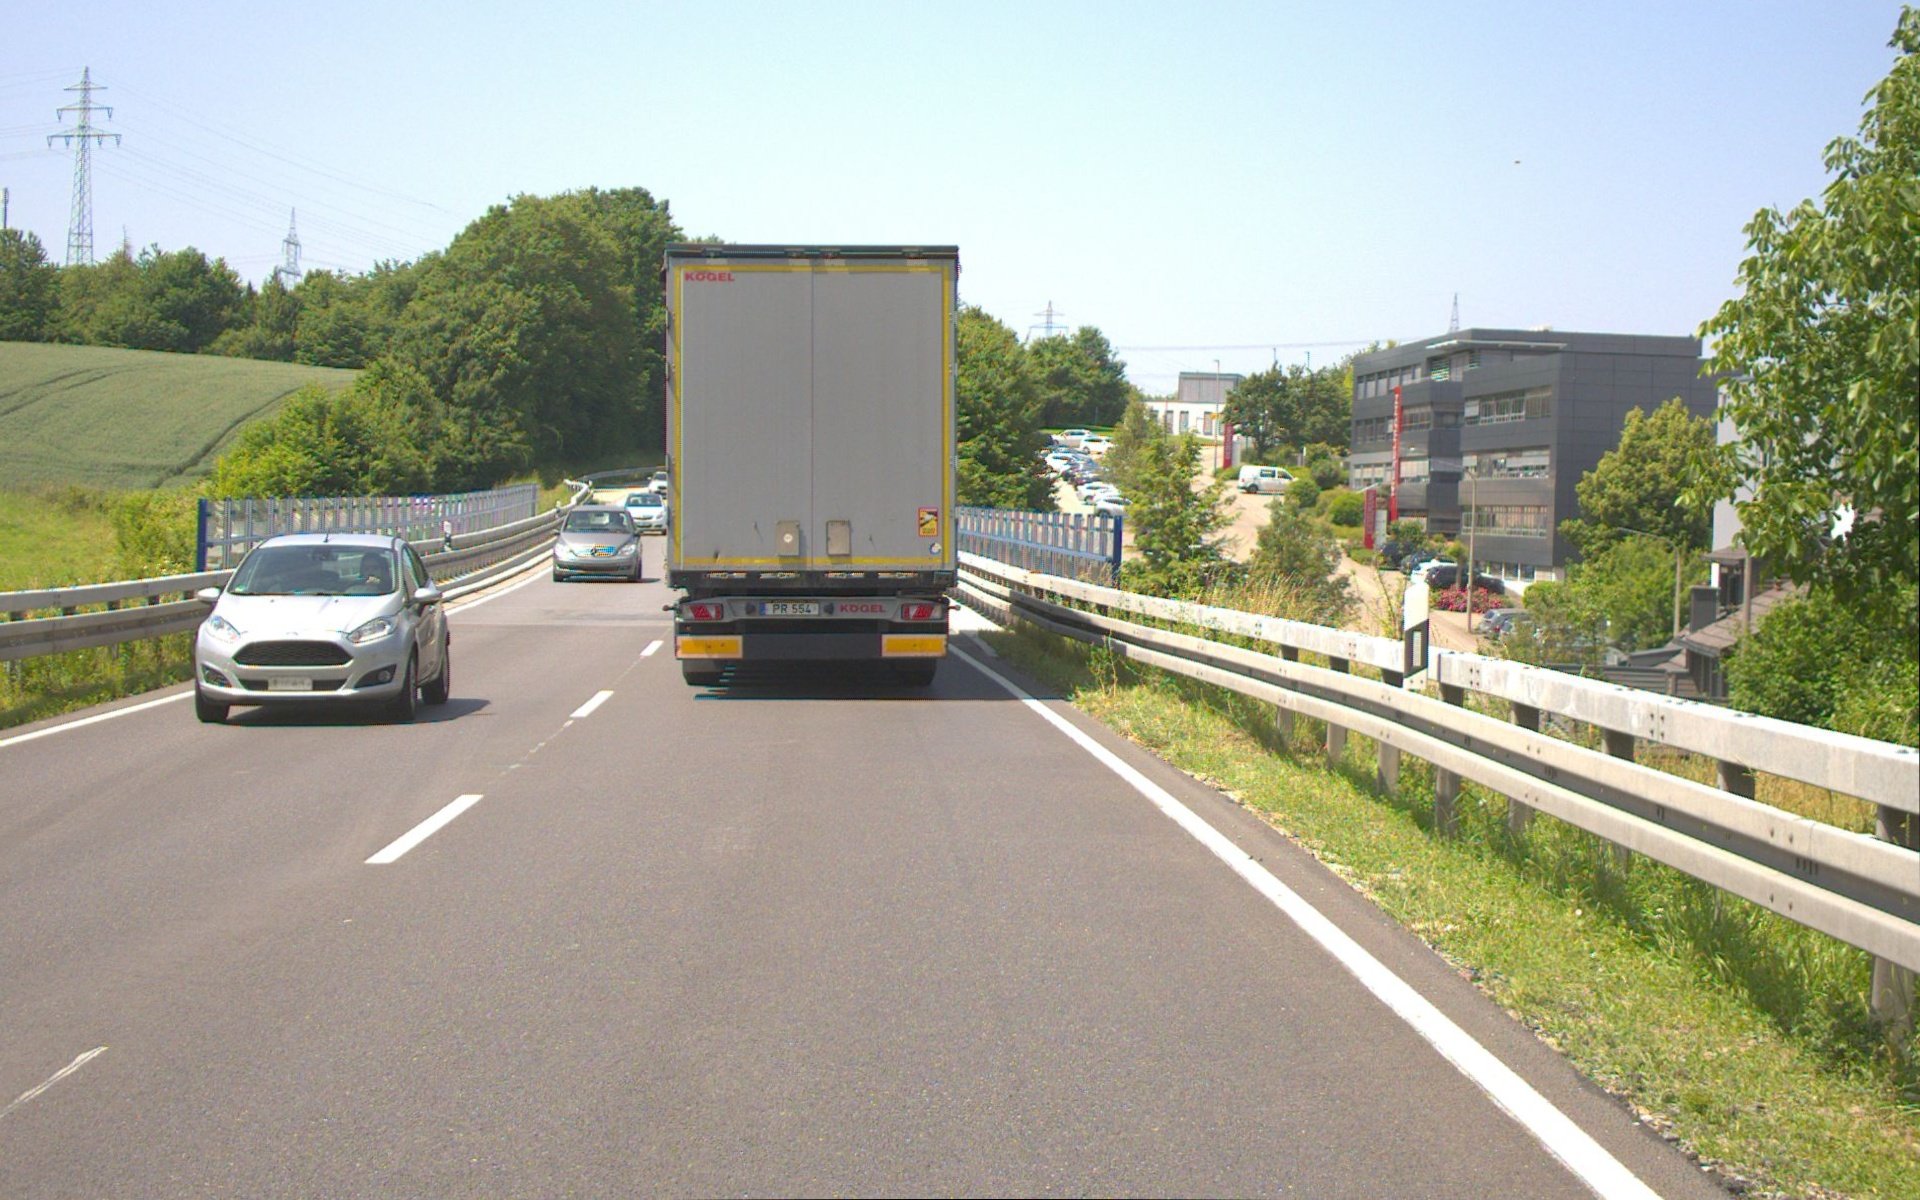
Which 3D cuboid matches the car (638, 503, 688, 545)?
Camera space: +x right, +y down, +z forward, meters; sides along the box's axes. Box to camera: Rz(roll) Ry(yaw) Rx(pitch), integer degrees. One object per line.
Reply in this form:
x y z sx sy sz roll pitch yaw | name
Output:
-10.634 -2.733 123.227 1.707 1.500 4.120 0 1 -4 | car

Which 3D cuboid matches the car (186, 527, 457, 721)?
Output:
-5.153 0.139 28.214 1.646 1.436 4.159 -1 2 -3 | car

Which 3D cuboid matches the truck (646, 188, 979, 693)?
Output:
-1.576 -1.455 34.572 2.865 4.344 9.790 0 1 -4 | truck

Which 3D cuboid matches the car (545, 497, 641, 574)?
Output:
-7.810 -1.386 73.460 1.806 1.584 4.380 0 1 -3 | car
